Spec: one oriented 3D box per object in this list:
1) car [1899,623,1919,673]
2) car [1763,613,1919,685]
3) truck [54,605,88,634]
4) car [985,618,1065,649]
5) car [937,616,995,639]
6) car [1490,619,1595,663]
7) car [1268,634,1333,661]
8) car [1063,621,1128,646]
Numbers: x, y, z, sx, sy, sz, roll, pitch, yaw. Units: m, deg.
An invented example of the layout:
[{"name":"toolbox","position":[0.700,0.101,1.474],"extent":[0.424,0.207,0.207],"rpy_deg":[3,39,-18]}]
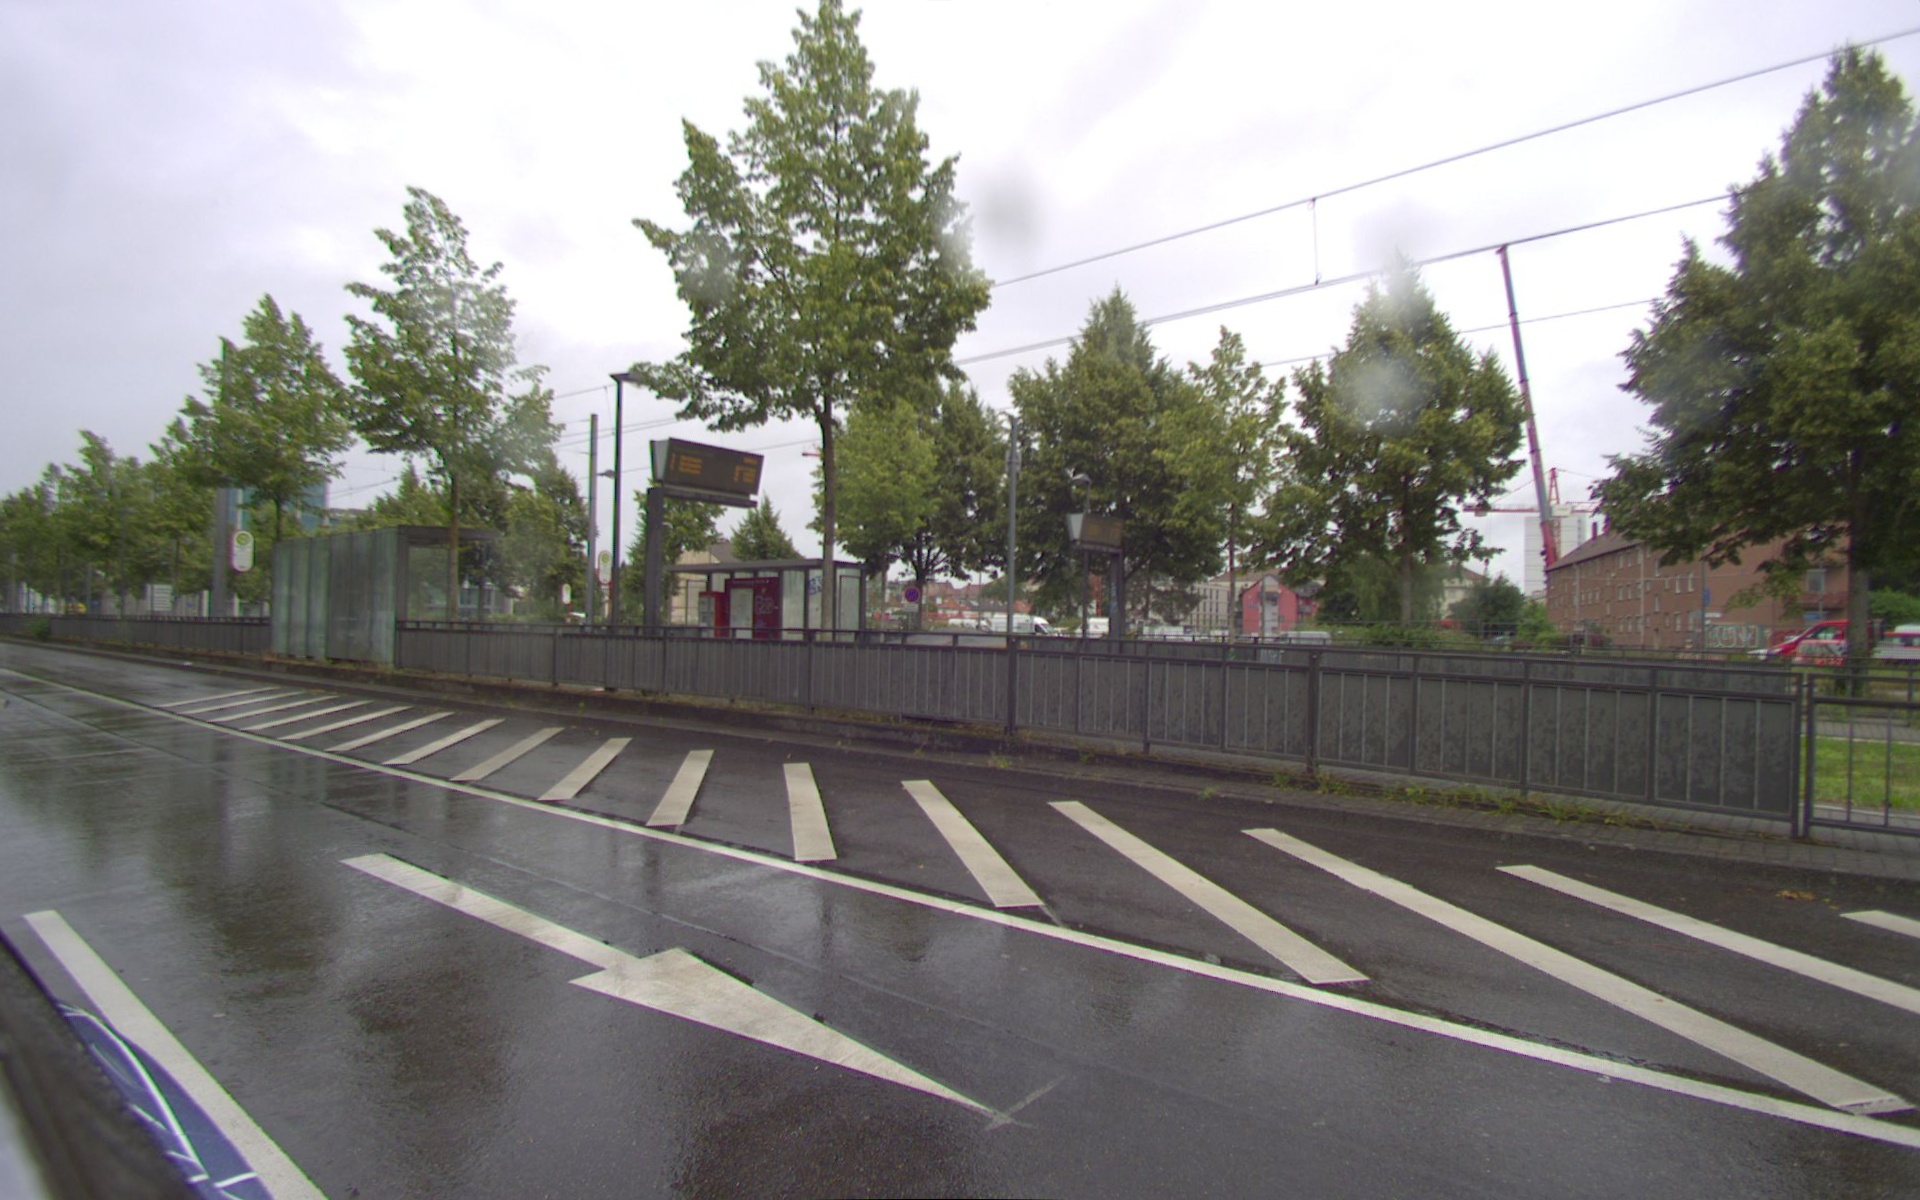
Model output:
[{"name":"car","position":[45.982,2.151,44.911],"extent":[1.597,2.296,6.114],"rpy_deg":[2,-3,-37]},{"name":"car","position":[33.404,1.753,36.695],"extent":[1.597,2.489,6.500],"rpy_deg":[2,-2,-39]},{"name":"truck","position":[-120.409,2.578,137.062],"extent":[9.184,3.806,2.657],"rpy_deg":[0,0,43]},{"name":"car","position":[5.469,2.782,85.763],"extent":[6.735,2.480,1.975],"rpy_deg":[0,0,37]},{"name":"car","position":[0.612,2.964,108.310],"extent":[6.123,2.323,1.978],"rpy_deg":[0,0,32]},{"name":"car","position":[35.942,2.479,62.519],"extent":[5.482,2.471,1.976],"rpy_deg":[0,0,36]},{"name":"car","position":[26.197,3.599,77.885],"extent":[4.415,1.891,1.855],"rpy_deg":[0,0,34]},{"name":"car","position":[11.856,2.896,88.786],"extent":[5.412,2.067,1.976],"rpy_deg":[0,0,37]}]
